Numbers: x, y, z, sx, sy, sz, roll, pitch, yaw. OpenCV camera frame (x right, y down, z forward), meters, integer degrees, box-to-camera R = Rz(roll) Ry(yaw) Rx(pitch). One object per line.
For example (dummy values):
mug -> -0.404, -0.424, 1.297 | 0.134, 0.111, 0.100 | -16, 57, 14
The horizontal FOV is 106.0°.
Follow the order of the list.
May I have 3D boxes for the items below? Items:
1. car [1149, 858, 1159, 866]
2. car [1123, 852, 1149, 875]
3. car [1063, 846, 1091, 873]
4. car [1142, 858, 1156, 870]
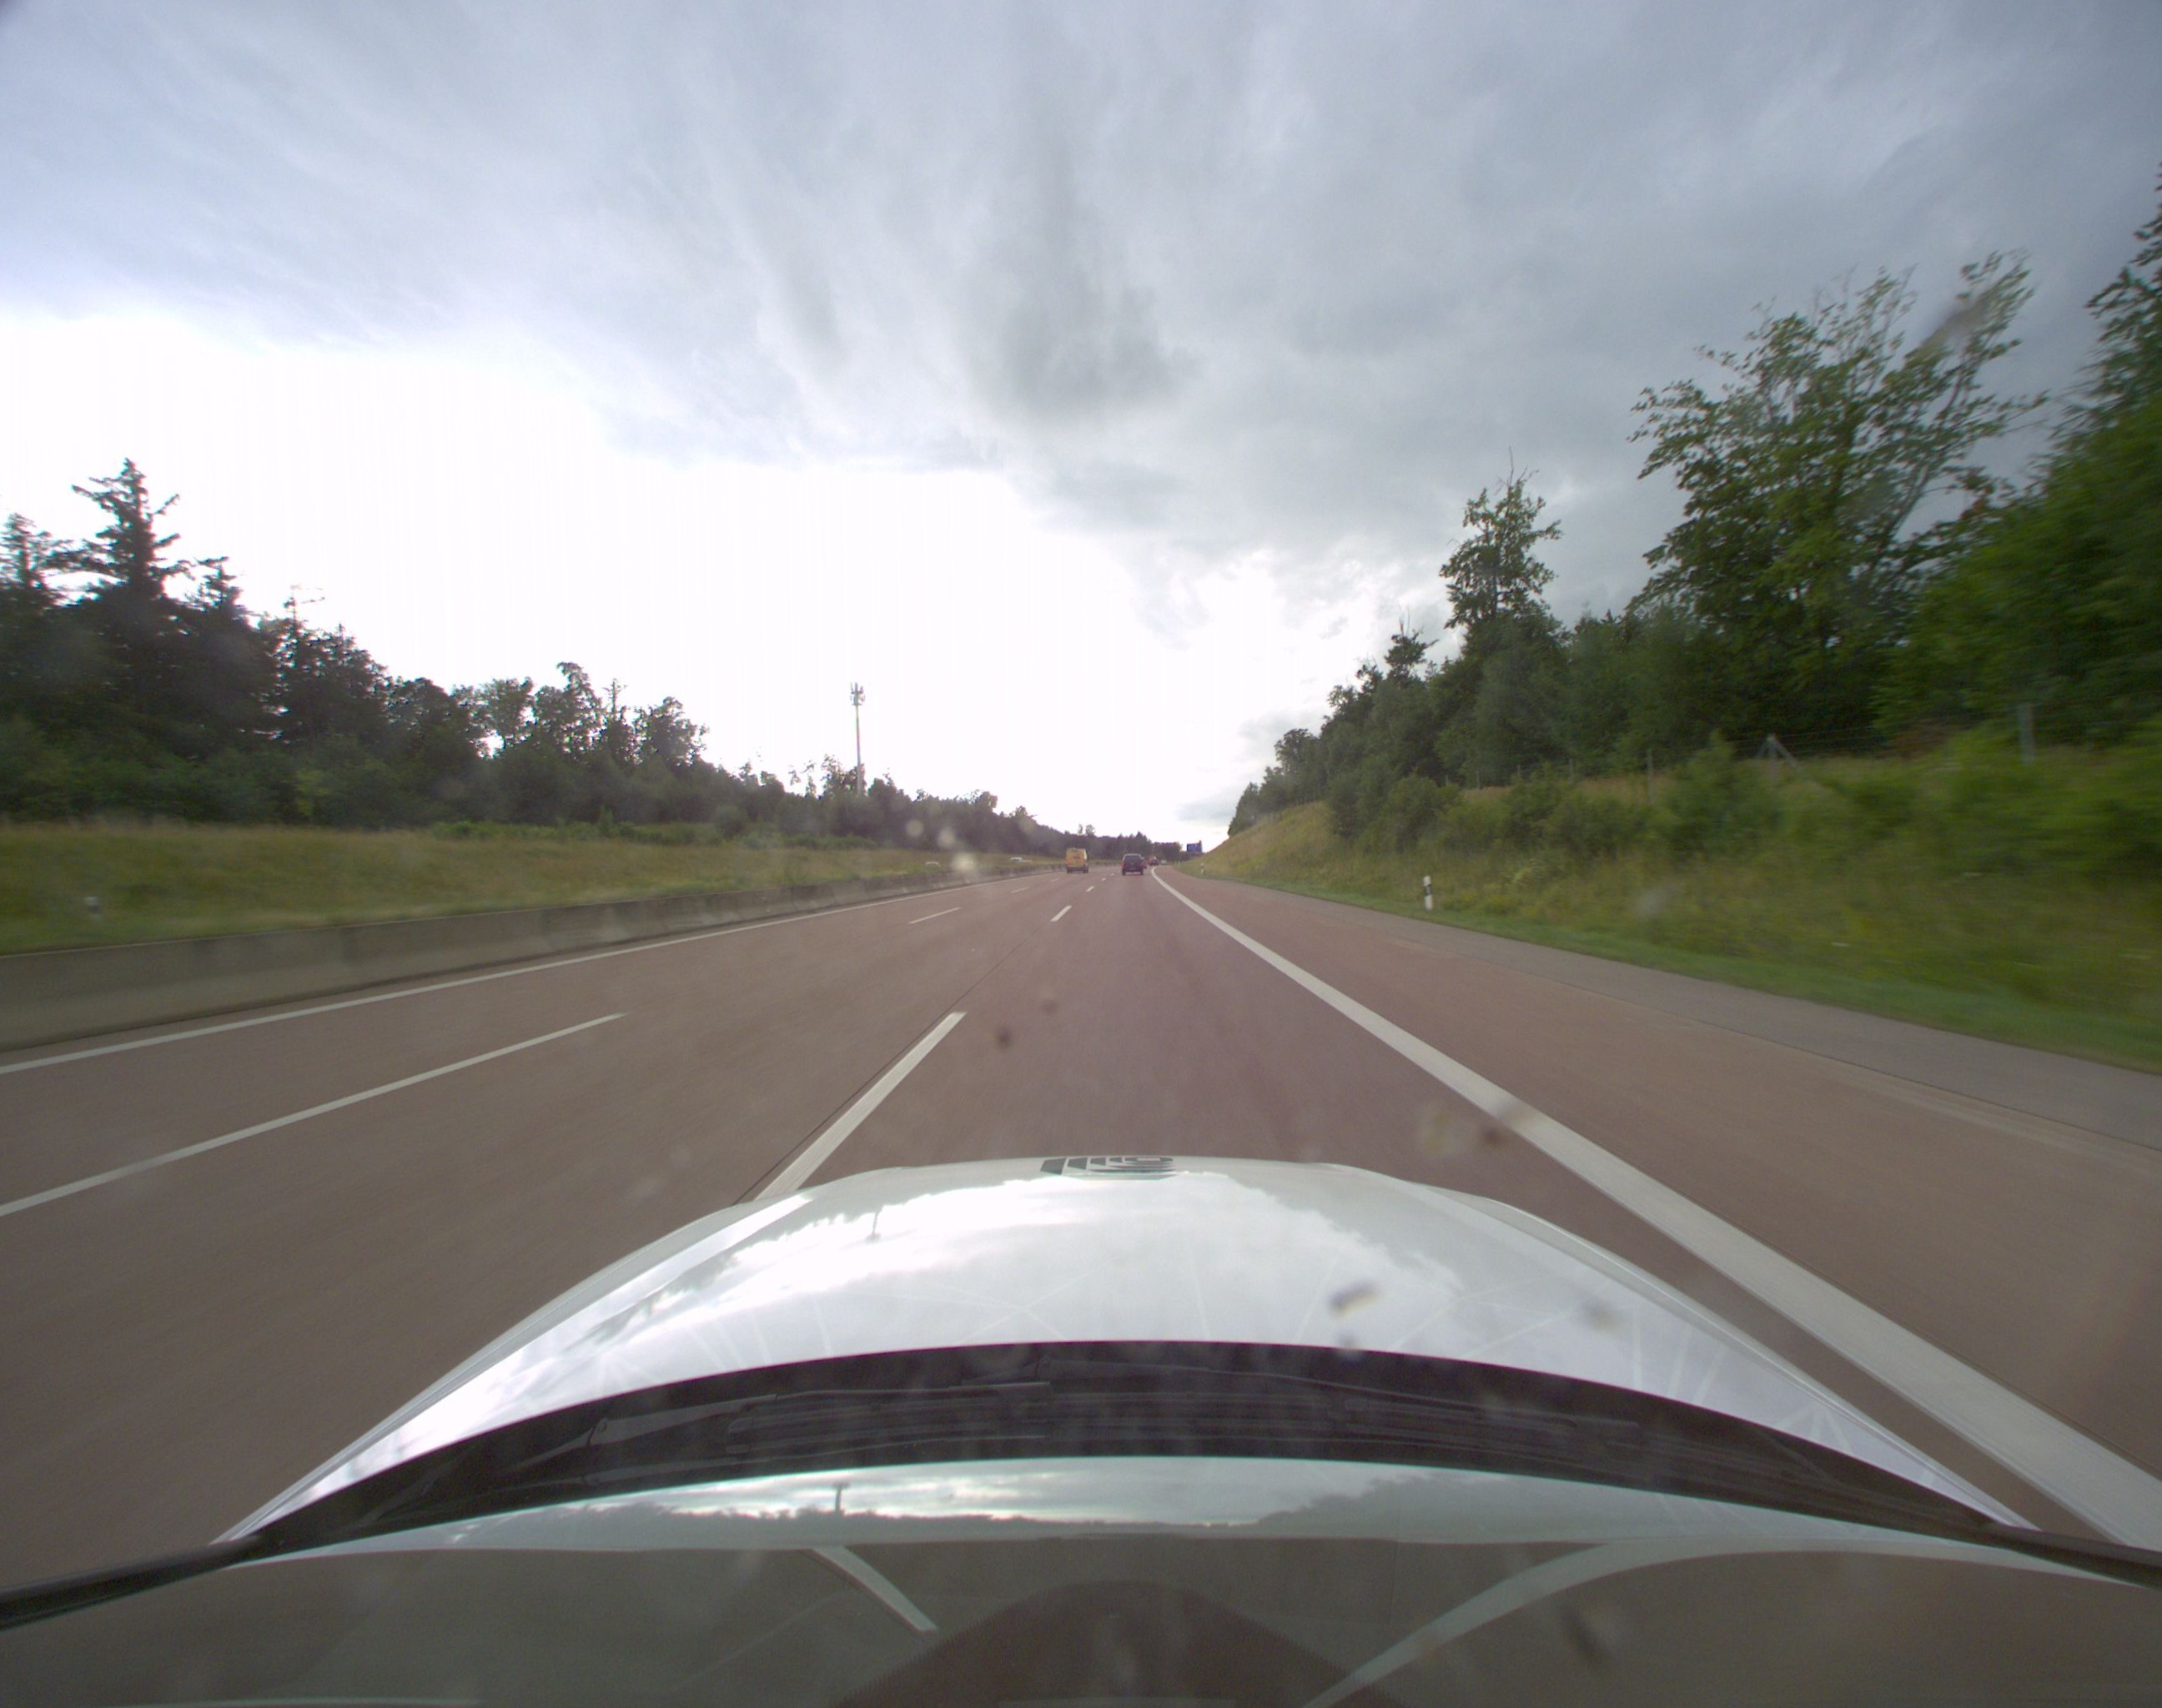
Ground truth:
car -> 16.103, 1.765, 180.511 | 1.970, 1.648, 4.621 | -2, -2, 2
car -> 4.911, 0.866, 73.266 | 2.036, 1.897, 5.579 | -2, -2, 2
car -> -0.411, 0.648, 90.039 | 2.447, 2.706, 5.621 | -2, -2, 5
car -> 9.949, 1.459, 119.604 | 1.969, 1.648, 4.624 | -1, -1, 4
